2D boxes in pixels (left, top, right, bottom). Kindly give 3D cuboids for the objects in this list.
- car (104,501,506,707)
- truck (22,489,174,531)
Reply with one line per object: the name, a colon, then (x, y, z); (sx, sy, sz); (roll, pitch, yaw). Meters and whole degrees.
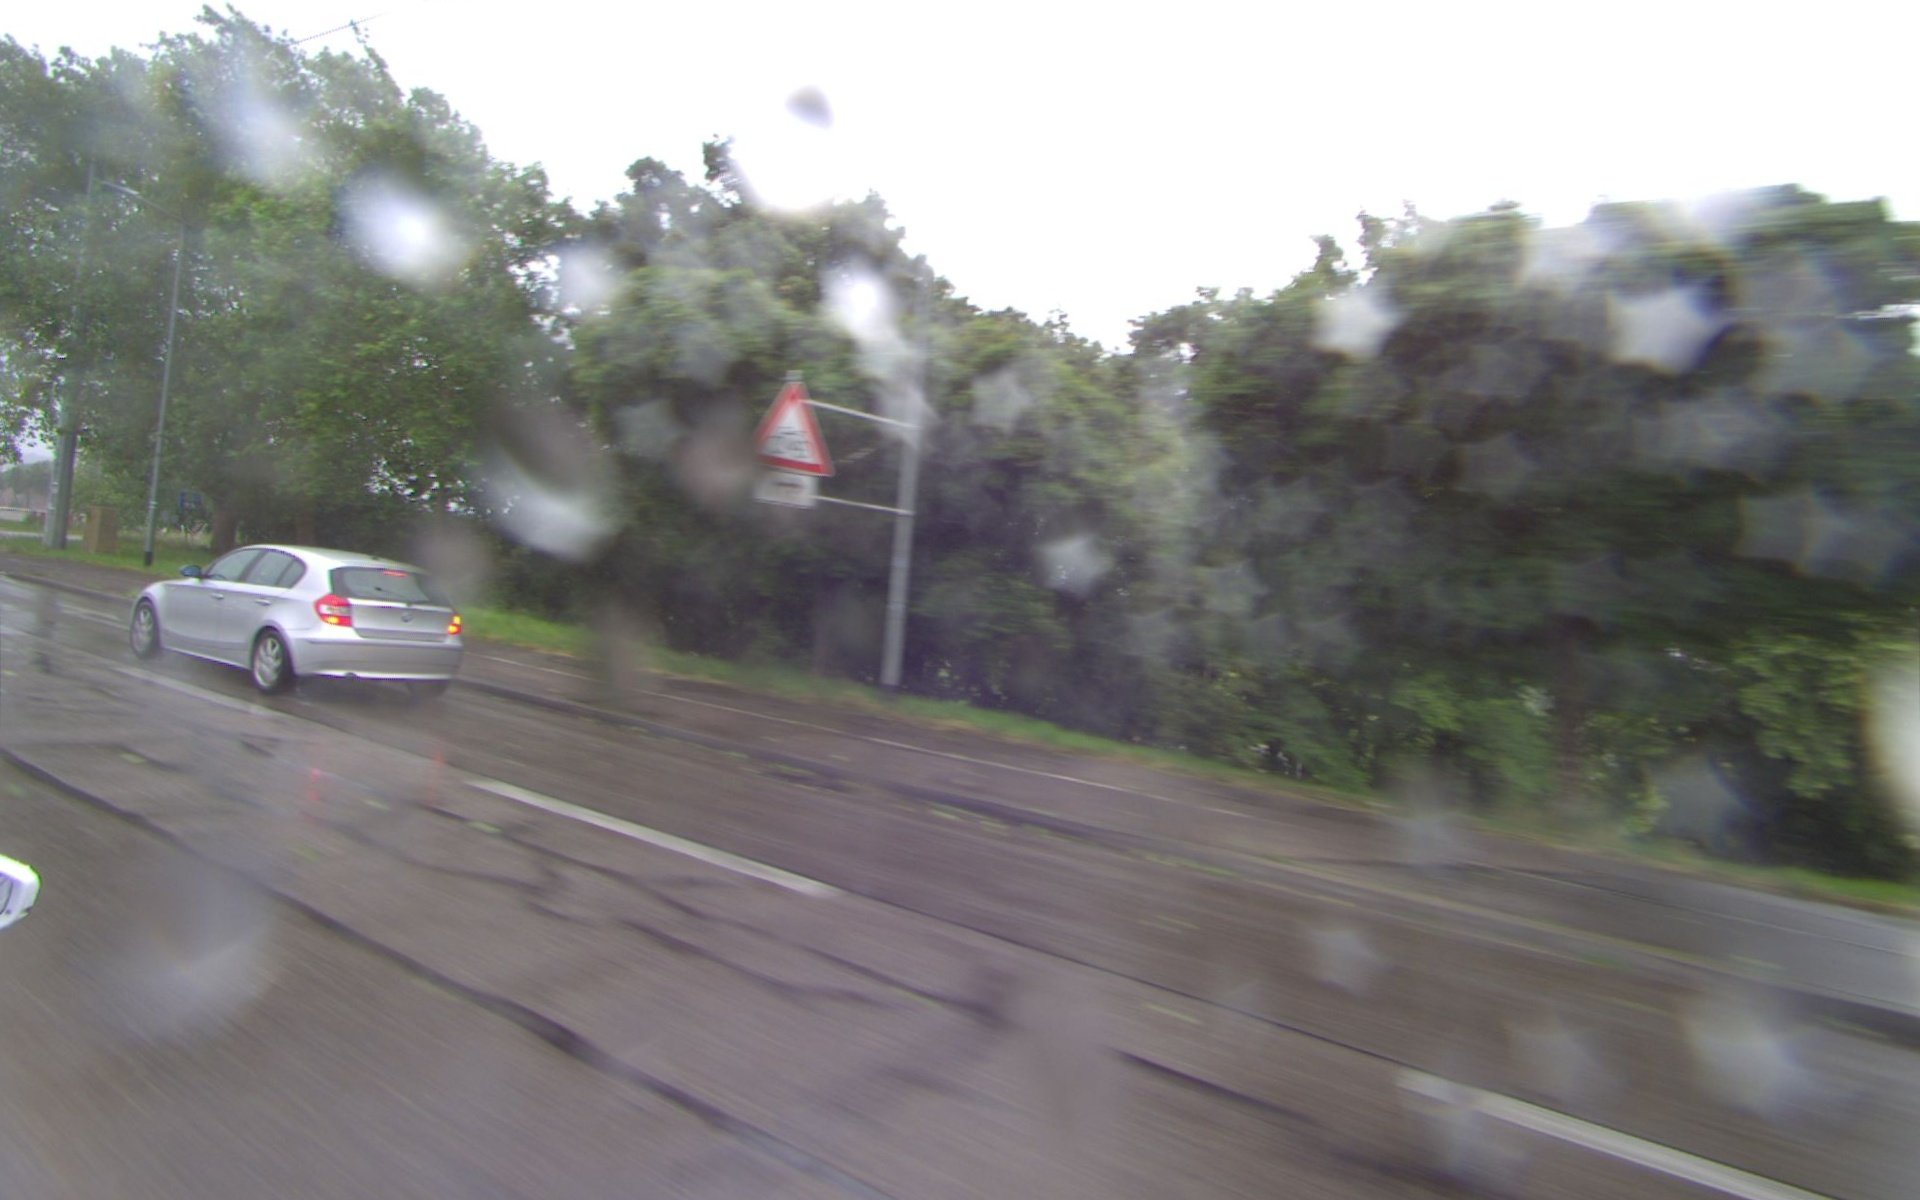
car: (-7.046, -0.005, 10.678); (4.528, 1.521, 1.630); (8, -1, 31)
truck: (-128.077, -13.232, 149.945); (16.576, 4.212, 3.267); (5, 1, -29)
